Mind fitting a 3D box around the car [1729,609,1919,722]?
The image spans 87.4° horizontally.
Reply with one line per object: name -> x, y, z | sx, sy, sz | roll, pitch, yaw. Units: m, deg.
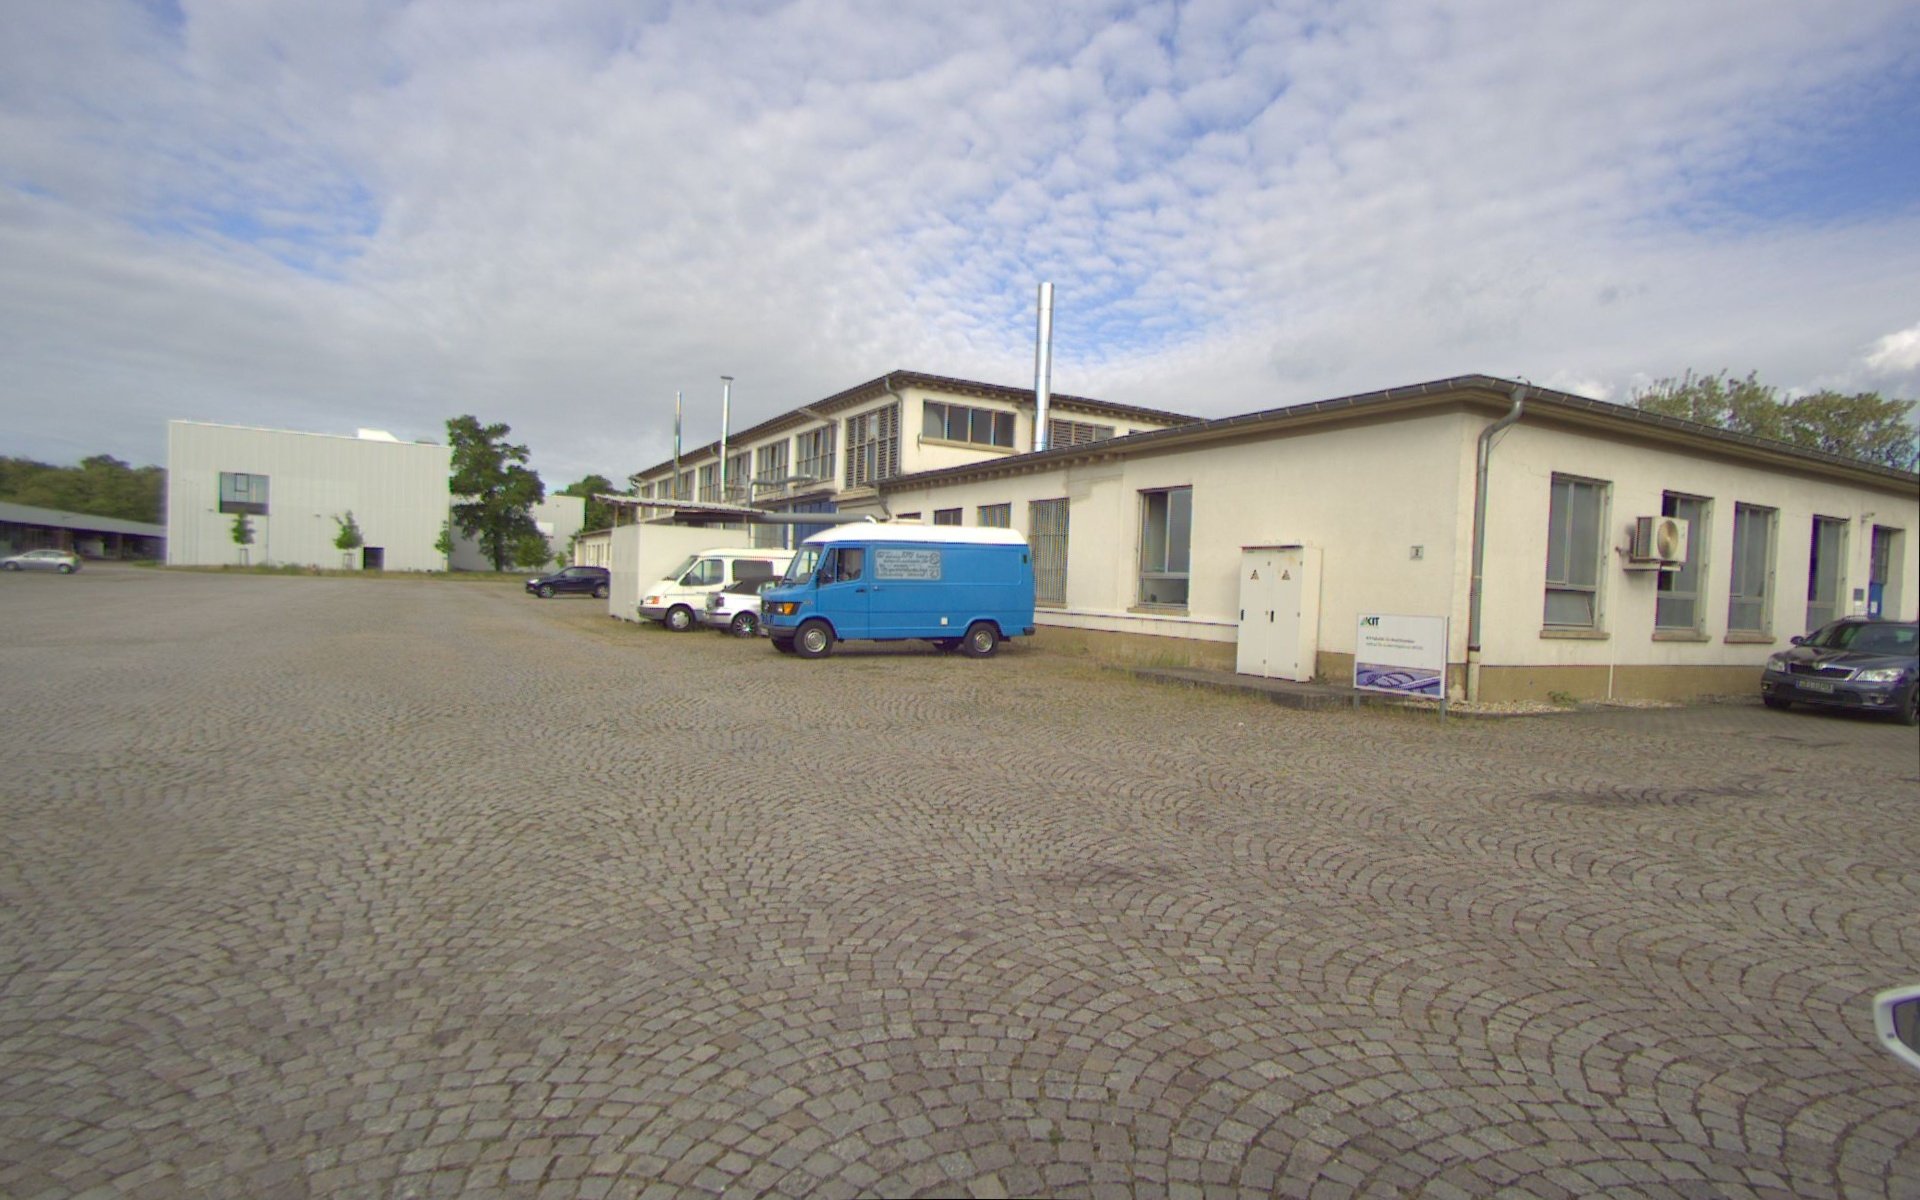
car -> 14.215, 0.950, 15.615 | 4.755, 1.458, 1.915 | 2, 1, -31

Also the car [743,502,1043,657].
car -> -1.239, -0.338, 19.084 | 5.326, 2.617, 1.986 | 1, 1, -26

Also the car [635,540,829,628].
car -> -5.961, -0.385, 26.313 | 4.624, 2.138, 1.986 | 1, 1, -26

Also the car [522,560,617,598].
car -> -19.474, -1.016, 50.073 | 4.107, 1.667, 1.983 | 2, -1, -32

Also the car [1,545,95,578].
car -> -59.677, -2.514, 65.832 | 4.261, 1.973, 1.982 | 2, 1, -32

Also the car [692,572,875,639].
car -> -4.172, 0.134, 23.810 | 3.949, 1.427, 1.626 | 2, 1, -27
